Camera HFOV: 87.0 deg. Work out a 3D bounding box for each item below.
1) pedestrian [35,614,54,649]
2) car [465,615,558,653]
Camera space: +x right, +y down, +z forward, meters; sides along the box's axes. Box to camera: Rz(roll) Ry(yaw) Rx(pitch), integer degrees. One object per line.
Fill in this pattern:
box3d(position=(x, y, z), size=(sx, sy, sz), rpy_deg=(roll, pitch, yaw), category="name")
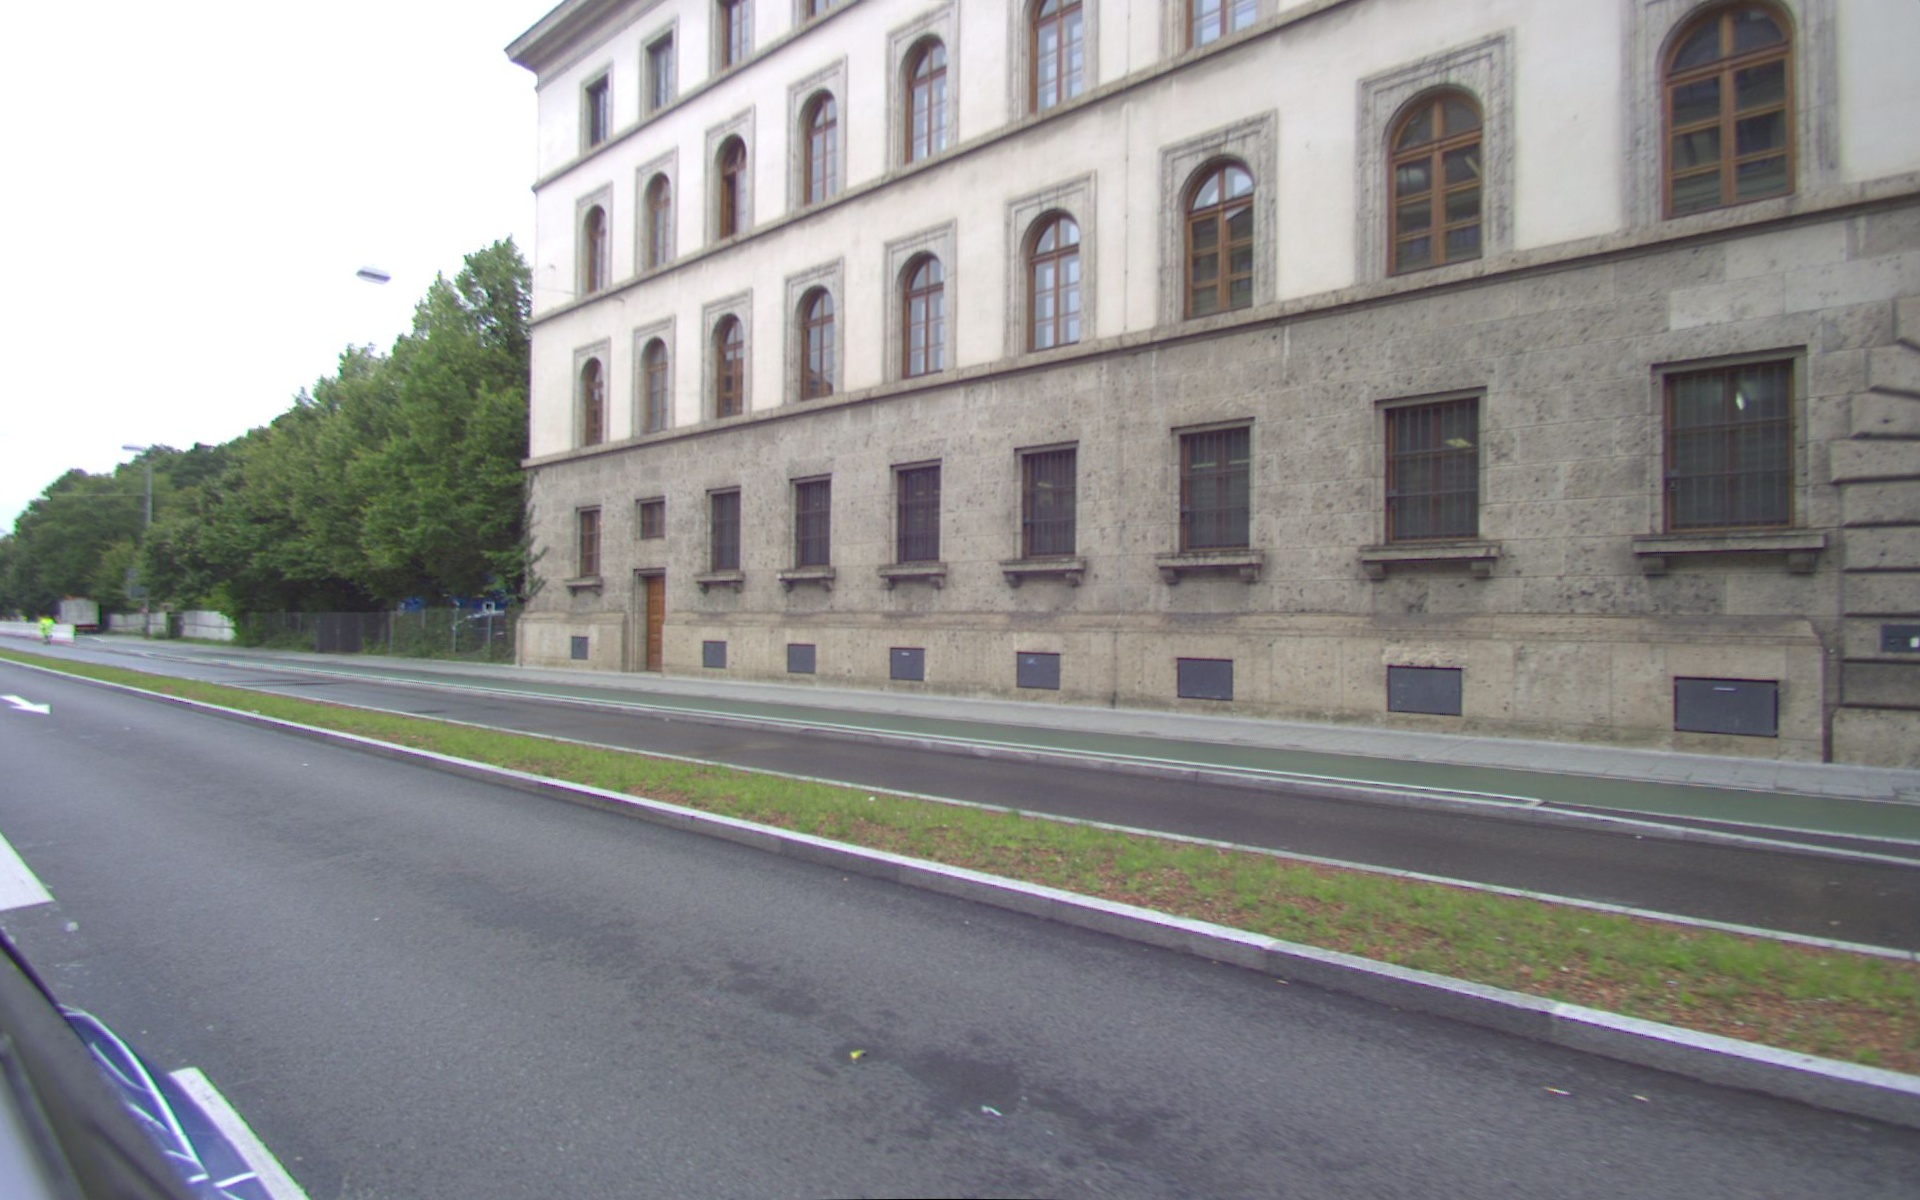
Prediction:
box3d(position=(-54.912, 1.885, 60.705), size=(0.867, 2.029, 0.747), rpy_deg=(-1, -1, 41), category="pedestrian")
box3d(position=(-23.018, 1.706, 52.011), size=(1.877, 1.722, 3.981), rpy_deg=(2, 1, 45), category="car")
